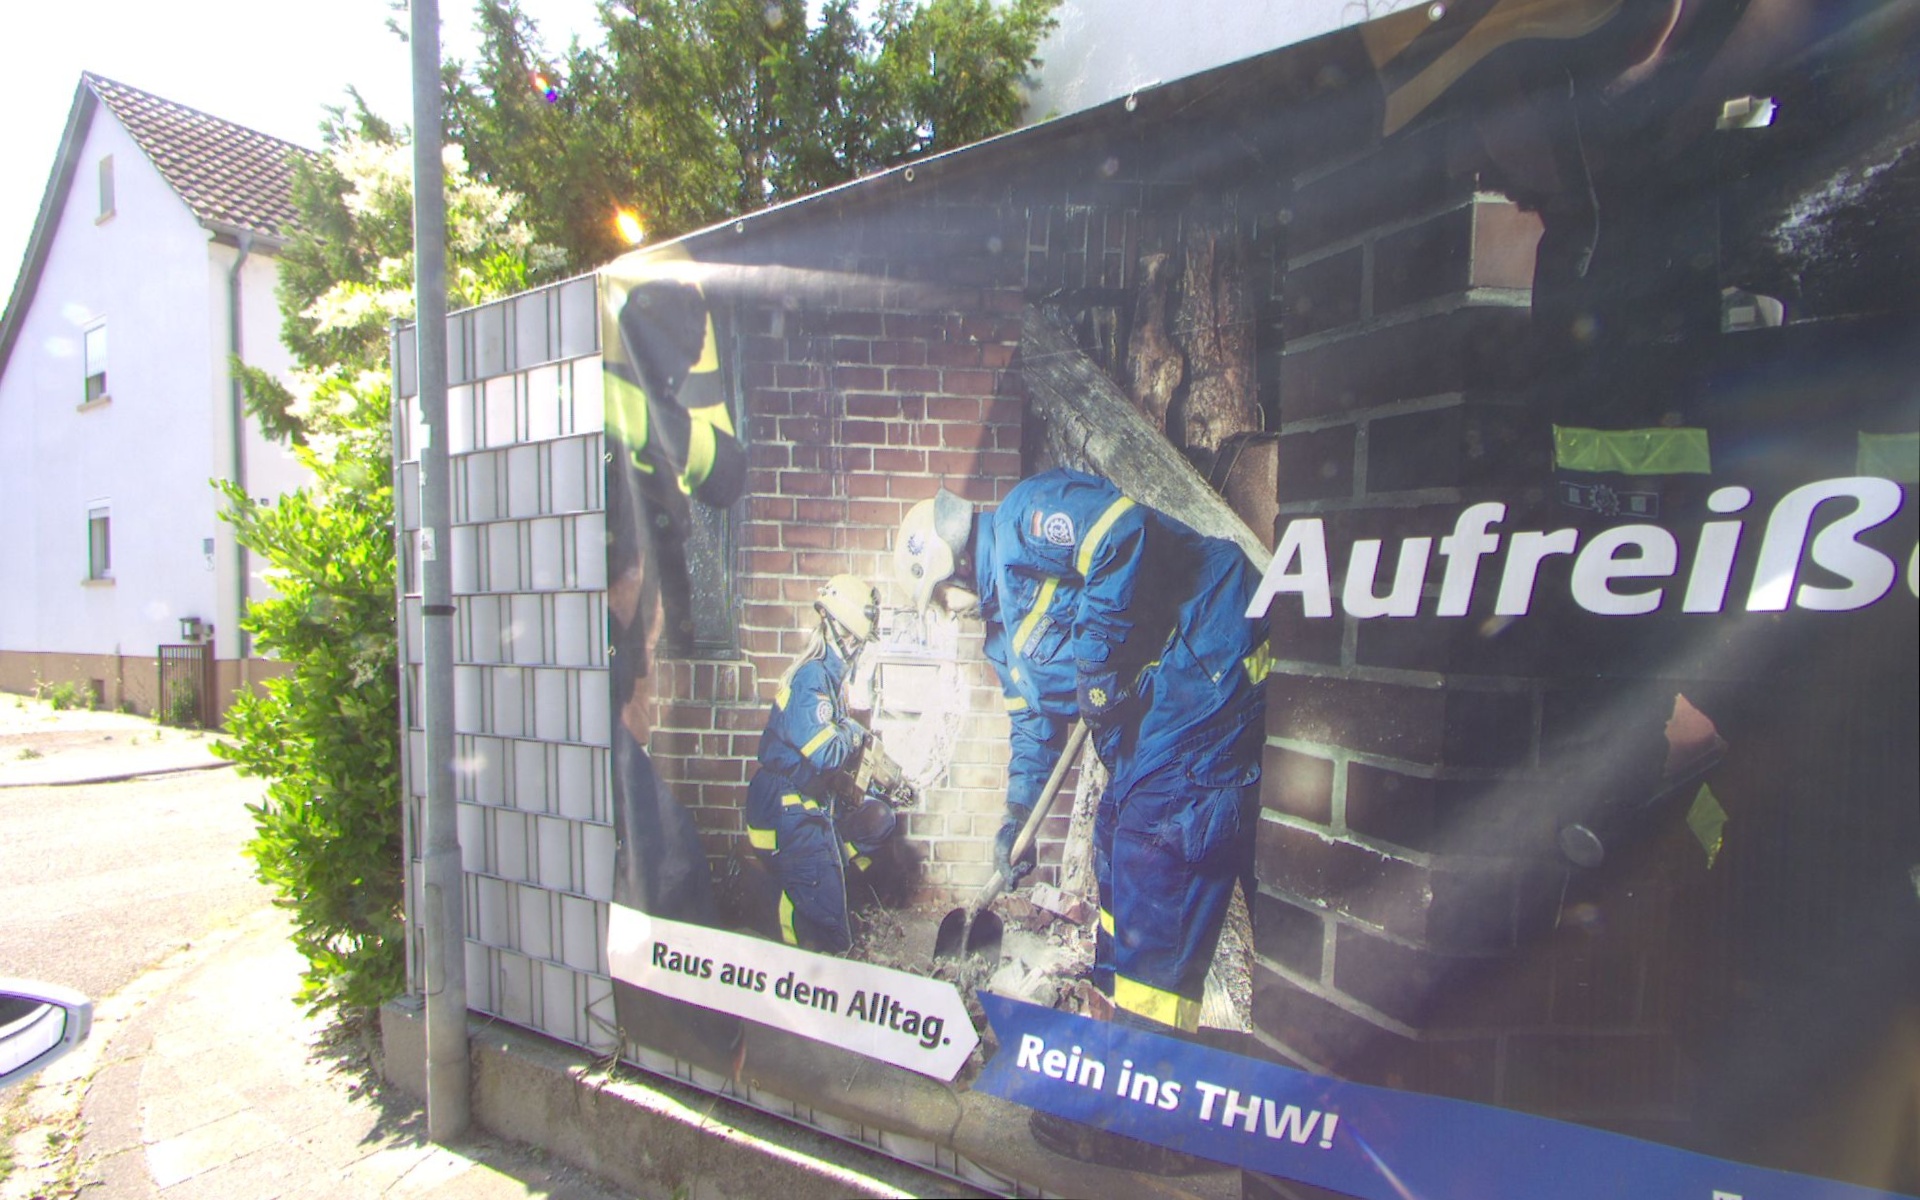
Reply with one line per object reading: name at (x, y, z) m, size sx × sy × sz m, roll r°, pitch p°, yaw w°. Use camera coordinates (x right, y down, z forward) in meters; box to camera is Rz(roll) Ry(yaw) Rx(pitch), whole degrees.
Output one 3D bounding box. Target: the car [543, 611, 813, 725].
car at (-4.299, 0.955, 15.849) m, size 1.771 × 1.550 × 3.978 m, roll 0°, pitch -1°, yaw 32°
